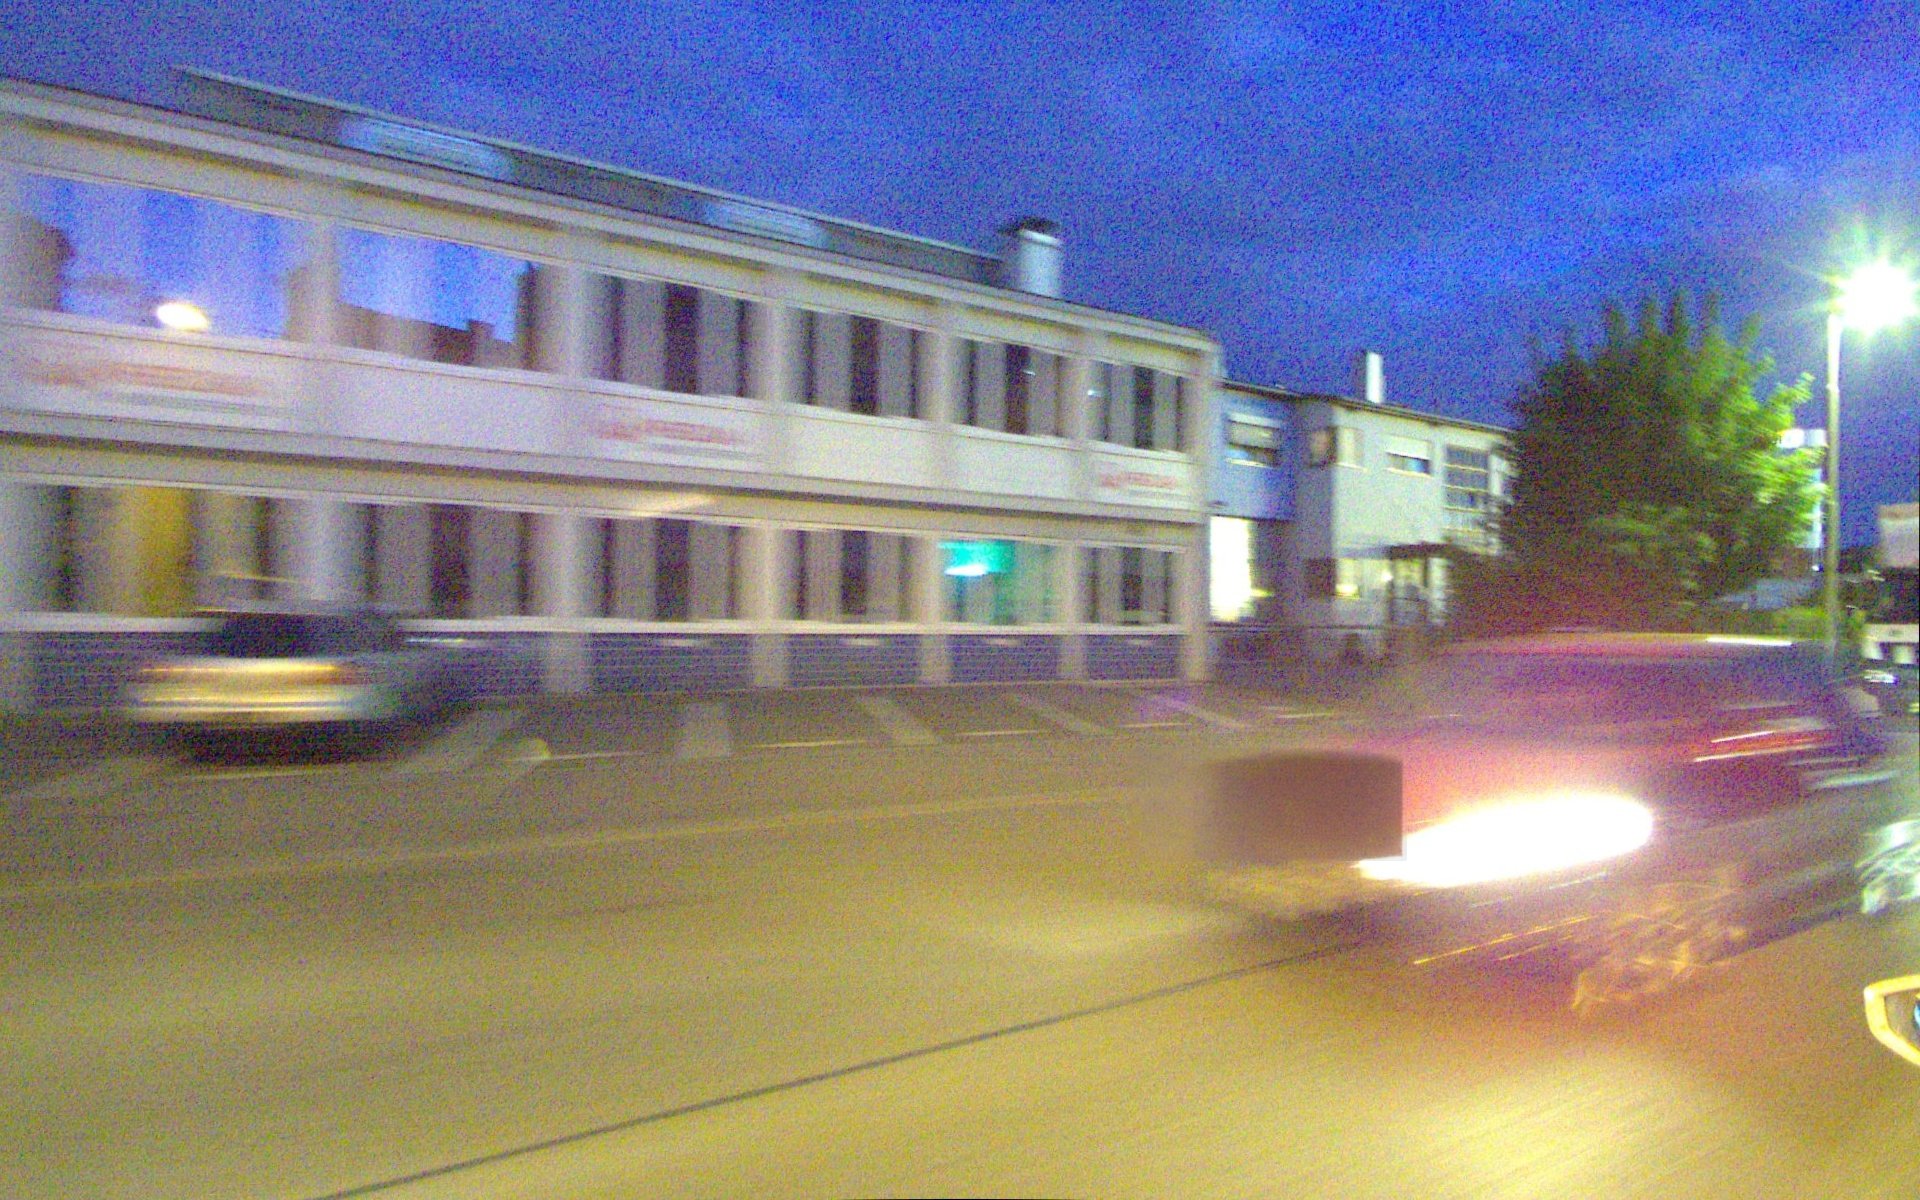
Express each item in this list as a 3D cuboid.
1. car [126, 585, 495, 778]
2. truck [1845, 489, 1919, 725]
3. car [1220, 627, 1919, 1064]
[{"bbox_3d":[-6.432,0.674,10.574,1.863,1.451,4.131,1,3,-12],"label":"car"},{"bbox_3d":[20.791,0.244,19.664,9.456,4.087,2.731,2,-1,-33],"label":"truck"},{"bbox_3d":[3.437,0.910,5.177,3.955,1.438,1.848,2,-3,-32],"label":"car"}]
